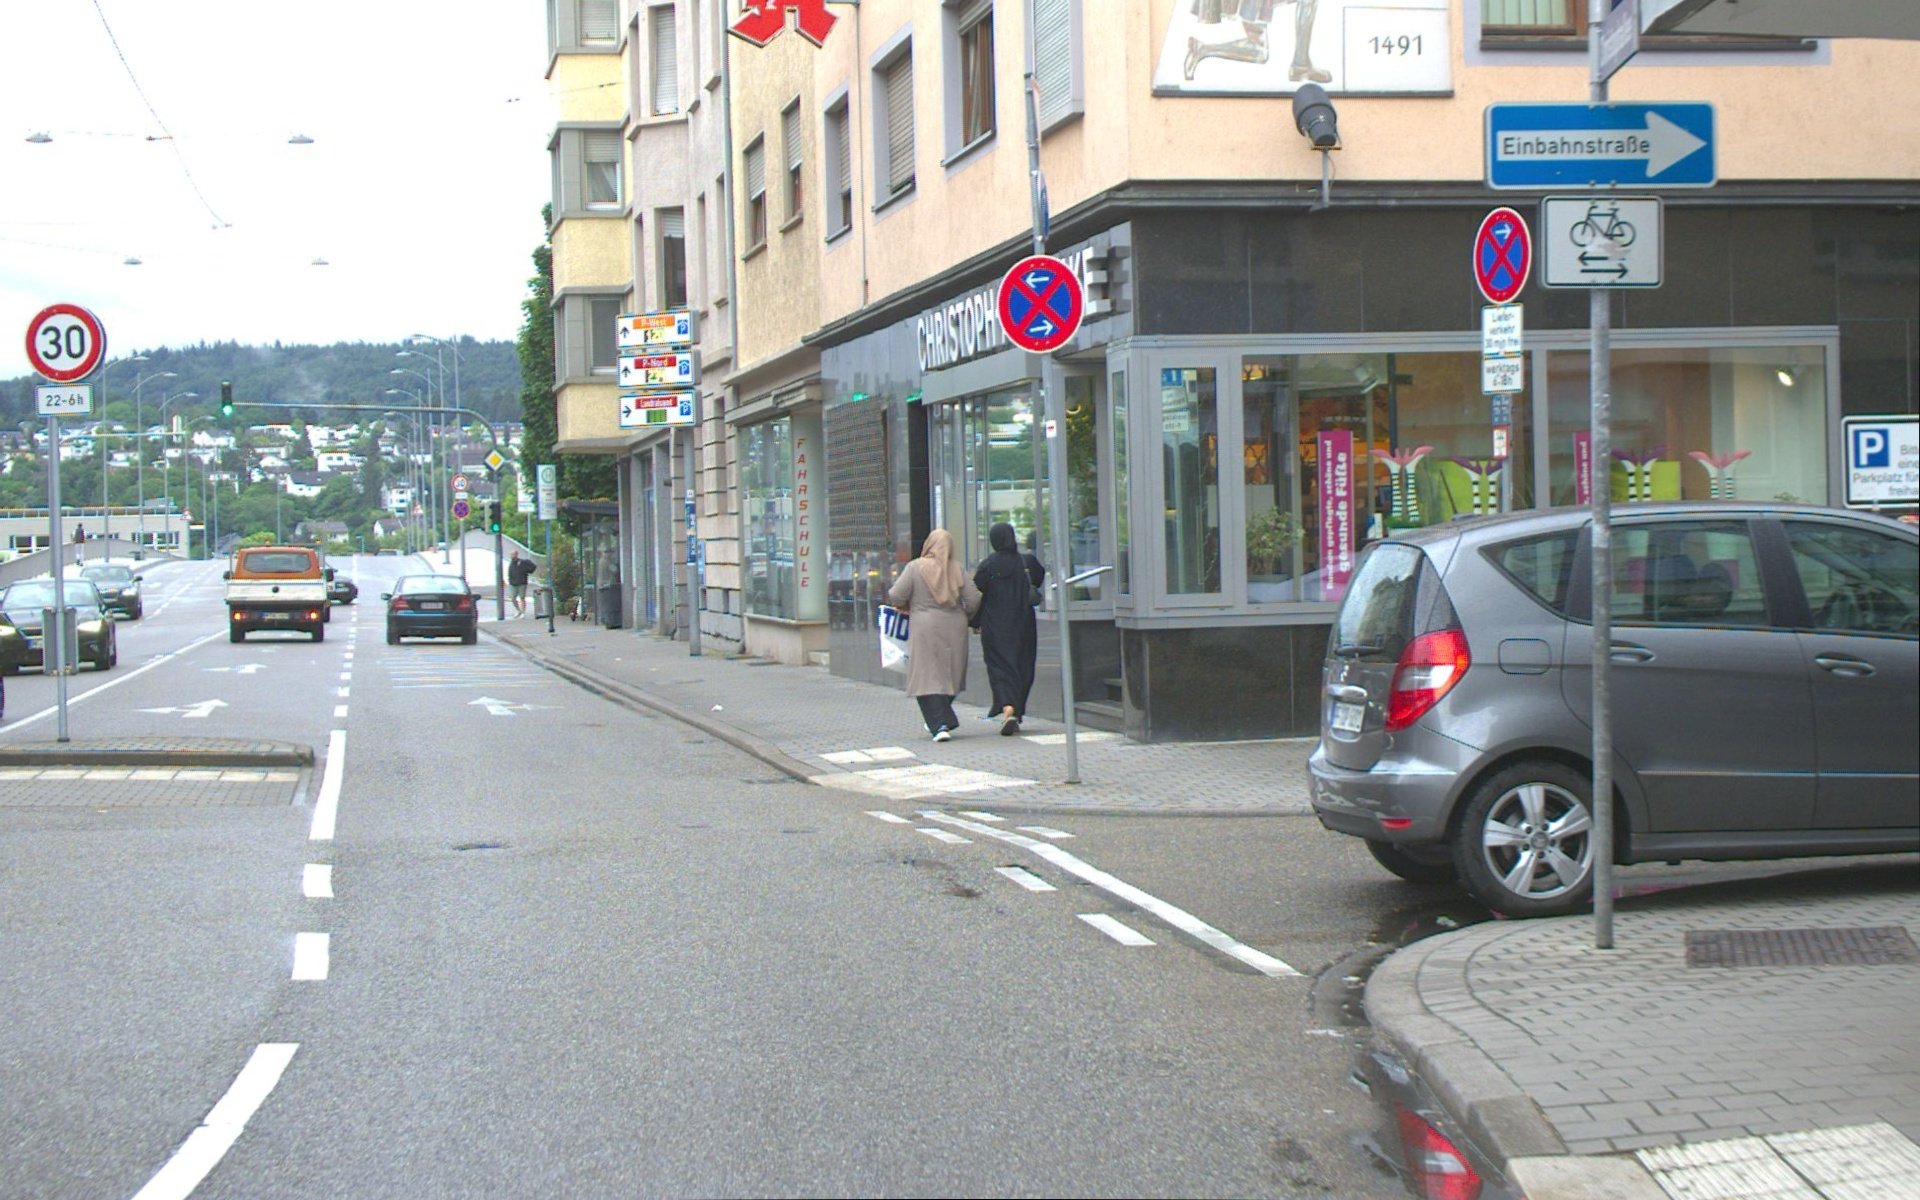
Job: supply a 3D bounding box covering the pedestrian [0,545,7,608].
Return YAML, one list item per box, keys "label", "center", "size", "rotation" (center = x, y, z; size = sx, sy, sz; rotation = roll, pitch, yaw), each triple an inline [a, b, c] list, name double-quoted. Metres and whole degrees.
- label: "pedestrian"
  center: [-30.768, -0.724, 108.446]
  size: [0.982, 2.007, 1.174]
  rotation: [-2, 0, 1]

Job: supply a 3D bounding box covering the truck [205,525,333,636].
- label: "truck"
  center: [-14.155, -0.404, 70.696]
  size: [2.399, 2.122, 5.316]
  rotation: [-2, 1, -10]

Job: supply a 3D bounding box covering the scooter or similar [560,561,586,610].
- label: "scooter or similar"
  center: [-9.336, -0.345, 82.903]
  size: [0.511, 1.168, 1.549]
  rotation: [-2, 0, -10]

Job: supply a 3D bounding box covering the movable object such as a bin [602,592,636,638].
- label: "movable object such as a bin"
  center: [-6.973, 0.309, 70.284]
  size: [0.600, 0.923, 0.705]
  rotation: [-2, 0, -10]

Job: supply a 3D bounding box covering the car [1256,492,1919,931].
- label: "car"
  center: [3.307, 0.376, 13.957]
  size: [3.824, 1.568, 1.937]
  rotation: [-2, 0, -7]

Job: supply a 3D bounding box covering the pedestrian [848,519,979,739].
- label: "pedestrian"
  center: [-0.349, 0.205, 25.144]
  size: [0.778, 1.554, 0.783]
  rotation: [-2, 0, -11]

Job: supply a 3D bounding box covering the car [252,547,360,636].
- label: "car"
  center: [-18.088, -0.254, 95.316]
  size: [1.993, 2.342, 5.009]
  rotation: [-2, 1, 0]

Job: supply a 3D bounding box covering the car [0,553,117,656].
- label: "car"
  center: [-13.706, 0.065, 51.766]
  size: [1.708, 1.446, 4.087]
  rotation: [-2, 1, -11]

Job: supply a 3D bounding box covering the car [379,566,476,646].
- label: "car"
  center: [-10.432, 0.102, 67.219]
  size: [1.754, 1.474, 4.001]
  rotation: [-2, 1, -10]

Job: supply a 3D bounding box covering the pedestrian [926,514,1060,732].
- label: "pedestrian"
  center: [0.237, 0.163, 25.335]
  size: [0.768, 1.554, 0.876]
  rotation: [-2, 0, -11]

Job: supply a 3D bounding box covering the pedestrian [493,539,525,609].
- label: "pedestrian"
  center: [-11.859, -0.683, 90.345]
  size: [0.732, 1.835, 0.631]
  rotation: [-2, 0, -11]

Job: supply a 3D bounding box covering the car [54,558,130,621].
- label: "car"
  center: [-25.519, -0.297, 101.186]
  size: [1.930, 1.751, 4.574]
  rotation: [-2, 1, -12]
